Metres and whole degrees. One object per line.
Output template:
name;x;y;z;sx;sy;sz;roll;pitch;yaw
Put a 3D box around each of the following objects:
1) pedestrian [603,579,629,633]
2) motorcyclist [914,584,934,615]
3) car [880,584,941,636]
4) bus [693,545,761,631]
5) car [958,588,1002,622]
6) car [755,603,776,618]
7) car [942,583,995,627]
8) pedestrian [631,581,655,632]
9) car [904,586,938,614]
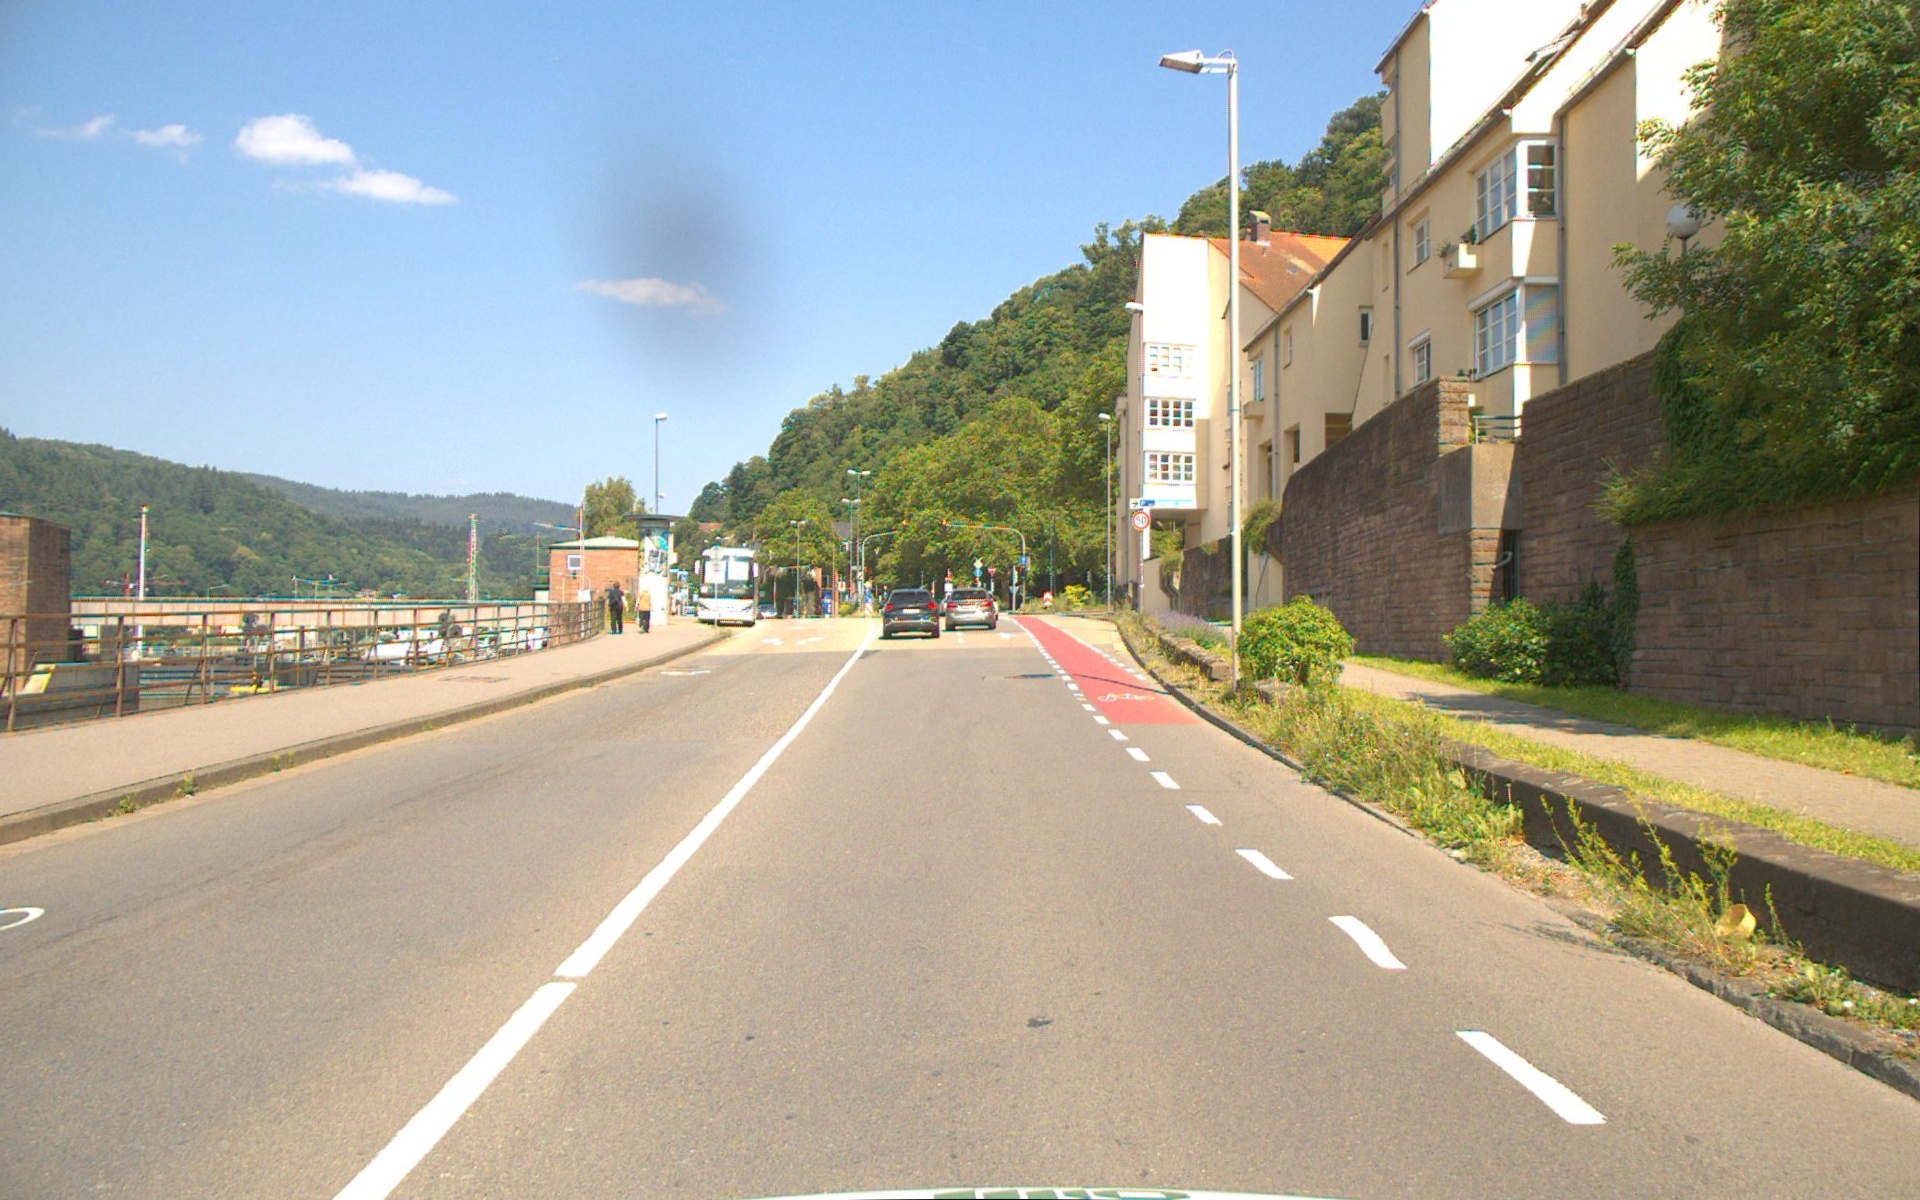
pedestrian;-11.017;0.192;53.036;0.669;1.739;0.773;0;-1;-1
motorcyclist;-2.015;-0.049;93.006;1.054;1.714;1.155;-1;0;-2
car;-1.543;0.316;51.977;1.831;1.540;4.150;0;0;-1
bus;-11.324;-0.517;81.406;2.900;3.867;13.225;0;0;-6
car;0.940;0.252;80.506;1.953;1.560;4.857;0;0;-1
car;-19.360;1.042;164.743;1.956;1.457;4.159;-1;0;-8
car;0.275;0.180;60.808;1.850;1.548;4.304;0;0;-1
pedestrian;-10.505;0.219;54.803;0.689;1.649;0.816;0;-1;-5
car;-2.334;0.008;98.243;1.830;1.589;3.997;-1;0;-4
